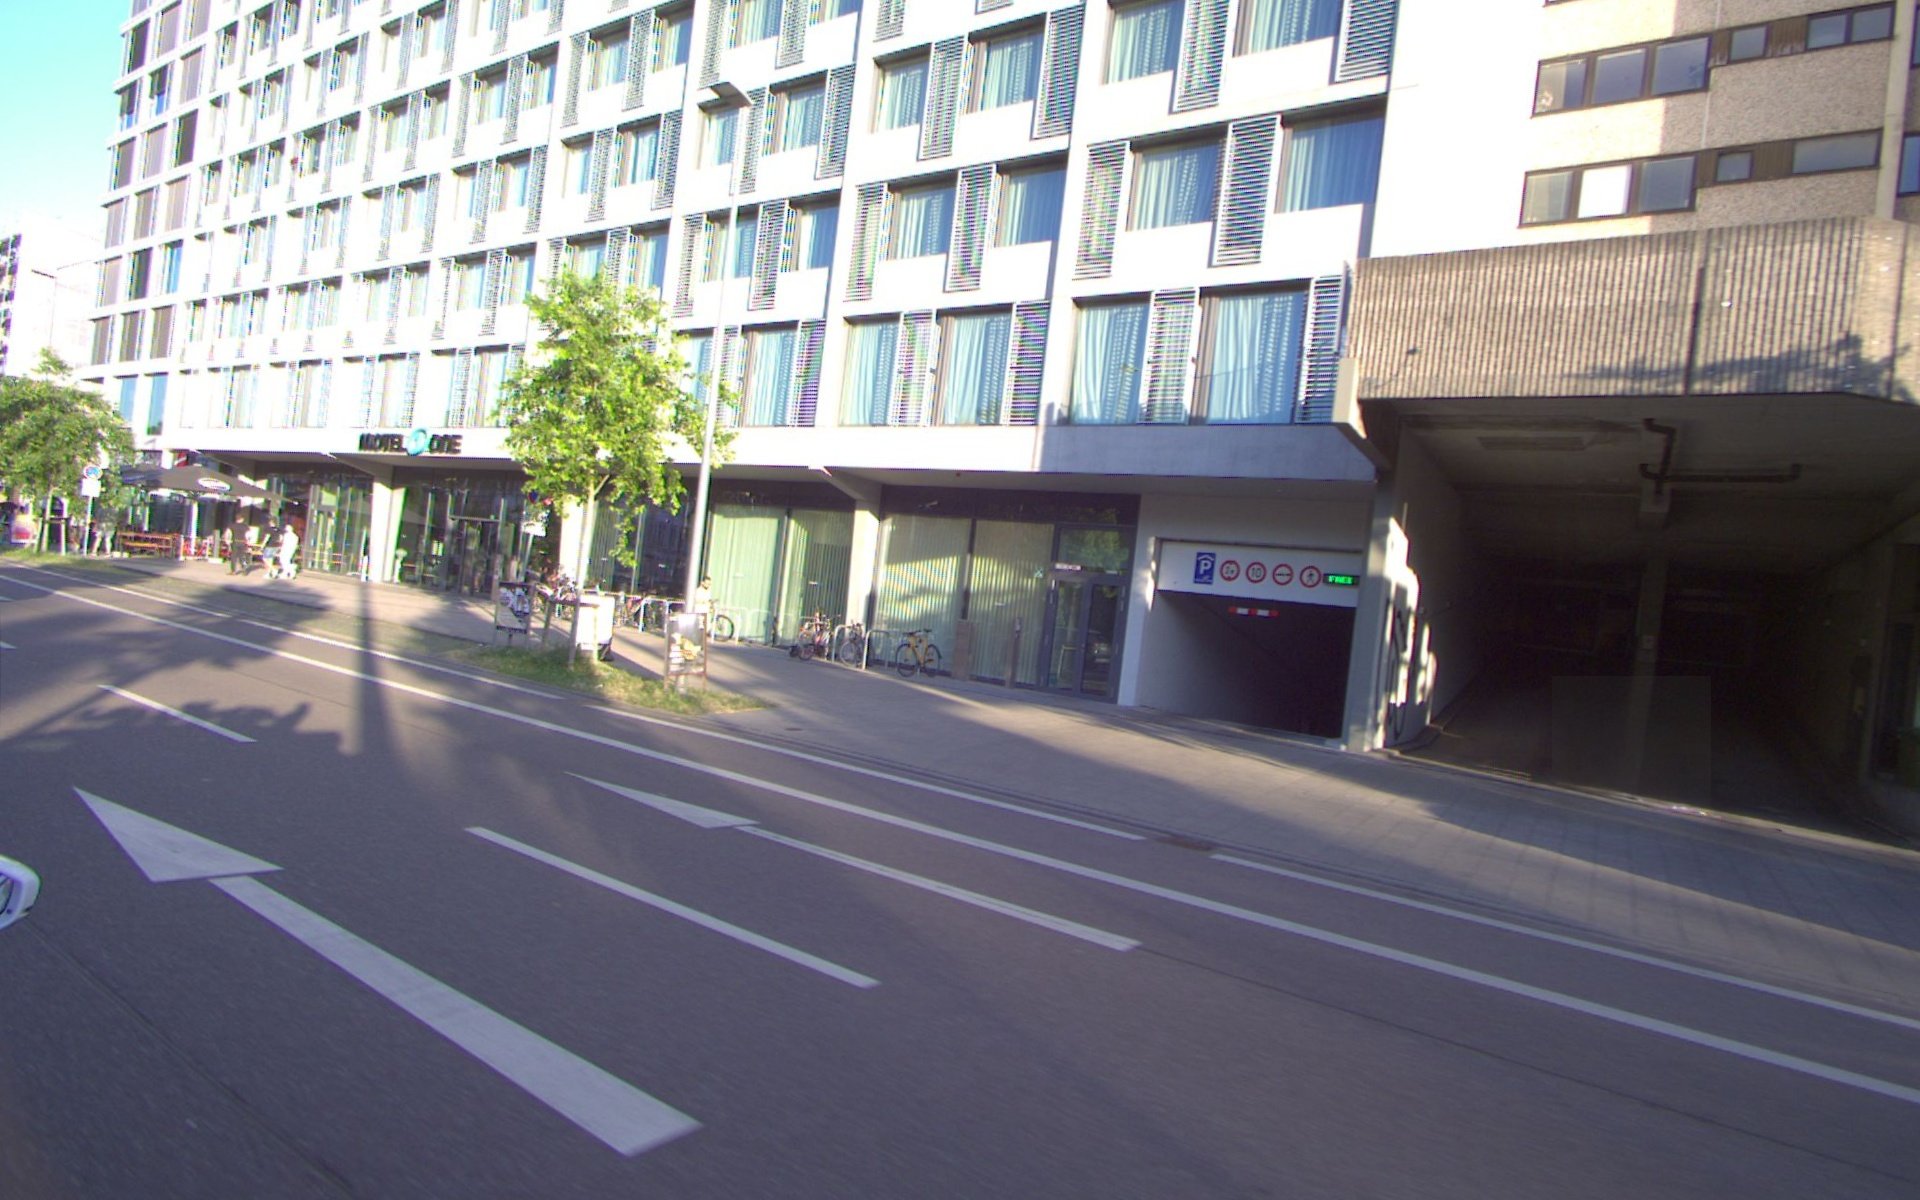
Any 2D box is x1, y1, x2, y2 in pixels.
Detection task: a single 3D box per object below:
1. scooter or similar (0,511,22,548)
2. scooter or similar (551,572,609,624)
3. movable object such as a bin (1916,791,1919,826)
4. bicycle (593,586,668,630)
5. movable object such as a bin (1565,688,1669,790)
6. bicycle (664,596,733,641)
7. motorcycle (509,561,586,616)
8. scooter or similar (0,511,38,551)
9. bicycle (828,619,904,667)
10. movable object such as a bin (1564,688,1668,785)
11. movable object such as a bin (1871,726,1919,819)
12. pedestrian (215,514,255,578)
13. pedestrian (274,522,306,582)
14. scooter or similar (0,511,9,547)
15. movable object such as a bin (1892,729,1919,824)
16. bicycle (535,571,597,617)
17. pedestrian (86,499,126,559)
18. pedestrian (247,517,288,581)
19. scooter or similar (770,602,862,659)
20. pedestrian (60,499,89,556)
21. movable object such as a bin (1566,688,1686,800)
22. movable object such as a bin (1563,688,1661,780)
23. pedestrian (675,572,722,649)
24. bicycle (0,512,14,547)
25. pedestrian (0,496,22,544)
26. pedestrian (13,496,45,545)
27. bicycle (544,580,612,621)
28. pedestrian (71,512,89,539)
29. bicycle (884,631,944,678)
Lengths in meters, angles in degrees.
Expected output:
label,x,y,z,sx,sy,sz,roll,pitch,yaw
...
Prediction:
label,x,y,z,sx,sy,sz,roll,pitch,yaw
scooter or similar,-32.760,-2.428,34.256,1.123,1.229,0.526,4,1,-42
scooter or similar,-10.041,-0.042,26.605,0.598,1.249,1.269,7,2,29
movable object such as a bin,13.844,2.549,13.388,1.283,1.315,1.183,7,0,32
bicycle,-8.586,0.219,26.250,0.556,1.023,1.886,7,1,31
movable object such as a bin,10.178,2.128,15.642,1.182,1.346,1.075,7,1,32
bicycle,-6.414,0.459,24.746,0.541,0.999,1.701,7,1,30
motorcycle,-11.575,-0.294,28.325,0.659,1.404,2.118,7,1,19
scooter or similar,-31.514,-2.301,33.341,1.283,1.234,0.531,4,2,-33
bicycle,-2.077,0.981,22.510,0.610,0.969,2.019,7,0,27
movable object such as a bin,10.760,2.206,16.547,1.262,1.346,1.034,7,1,32
movable object such as a bin,15.132,2.736,15.660,1.070,1.329,1.183,7,0,32
pedestrian,-22.151,-1.644,30.721,0.927,1.873,0.741,7,3,42
pedestrian,-21.359,-1.536,32.076,0.766,1.836,0.617,7,3,42
scooter or similar,-33.514,-2.495,34.508,0.502,1.206,1.155,5,1,35
movable object such as a bin,14.507,2.637,14.590,1.106,1.329,1.183,7,0,32
bicycle,-10.949,-0.149,28.028,0.601,1.169,1.610,7,1,21
pedestrian,-28.999,-2.404,34.166,0.854,1.912,0.822,6,1,41
pedestrian,-21.505,-1.586,31.254,0.927,1.848,0.754,7,2,42
scooter or similar,-3.319,0.734,23.443,0.610,1.198,2.374,7,1,32
pedestrian,-29.706,-2.433,33.746,0.818,1.809,0.574,6,1,44
movable object such as a bin,9.613,2.044,14.587,1.262,1.347,1.105,7,2,32
movable object such as a bin,11.276,2.280,17.447,1.262,1.346,1.075,7,1,32
pedestrian,-5.808,0.242,22.340,0.632,1.640,0.576,7,2,32
bicycle,-34.446,-2.565,35.183,0.598,1.197,1.847,7,2,33
pedestrian,-35.695,-3.006,37.653,0.678,1.724,0.653,7,2,33
pedestrian,-35.486,-3.014,38.342,0.748,1.758,0.685,7,3,33
bicycle,-10.351,0.023,27.298,0.541,0.999,1.701,7,1,30
pedestrian,-45.320,-3.823,51.796,0.609,1.337,0.614,3,3,-39
bicycle,-0.959,1.159,21.346,0.449,0.902,1.423,7,0,32
